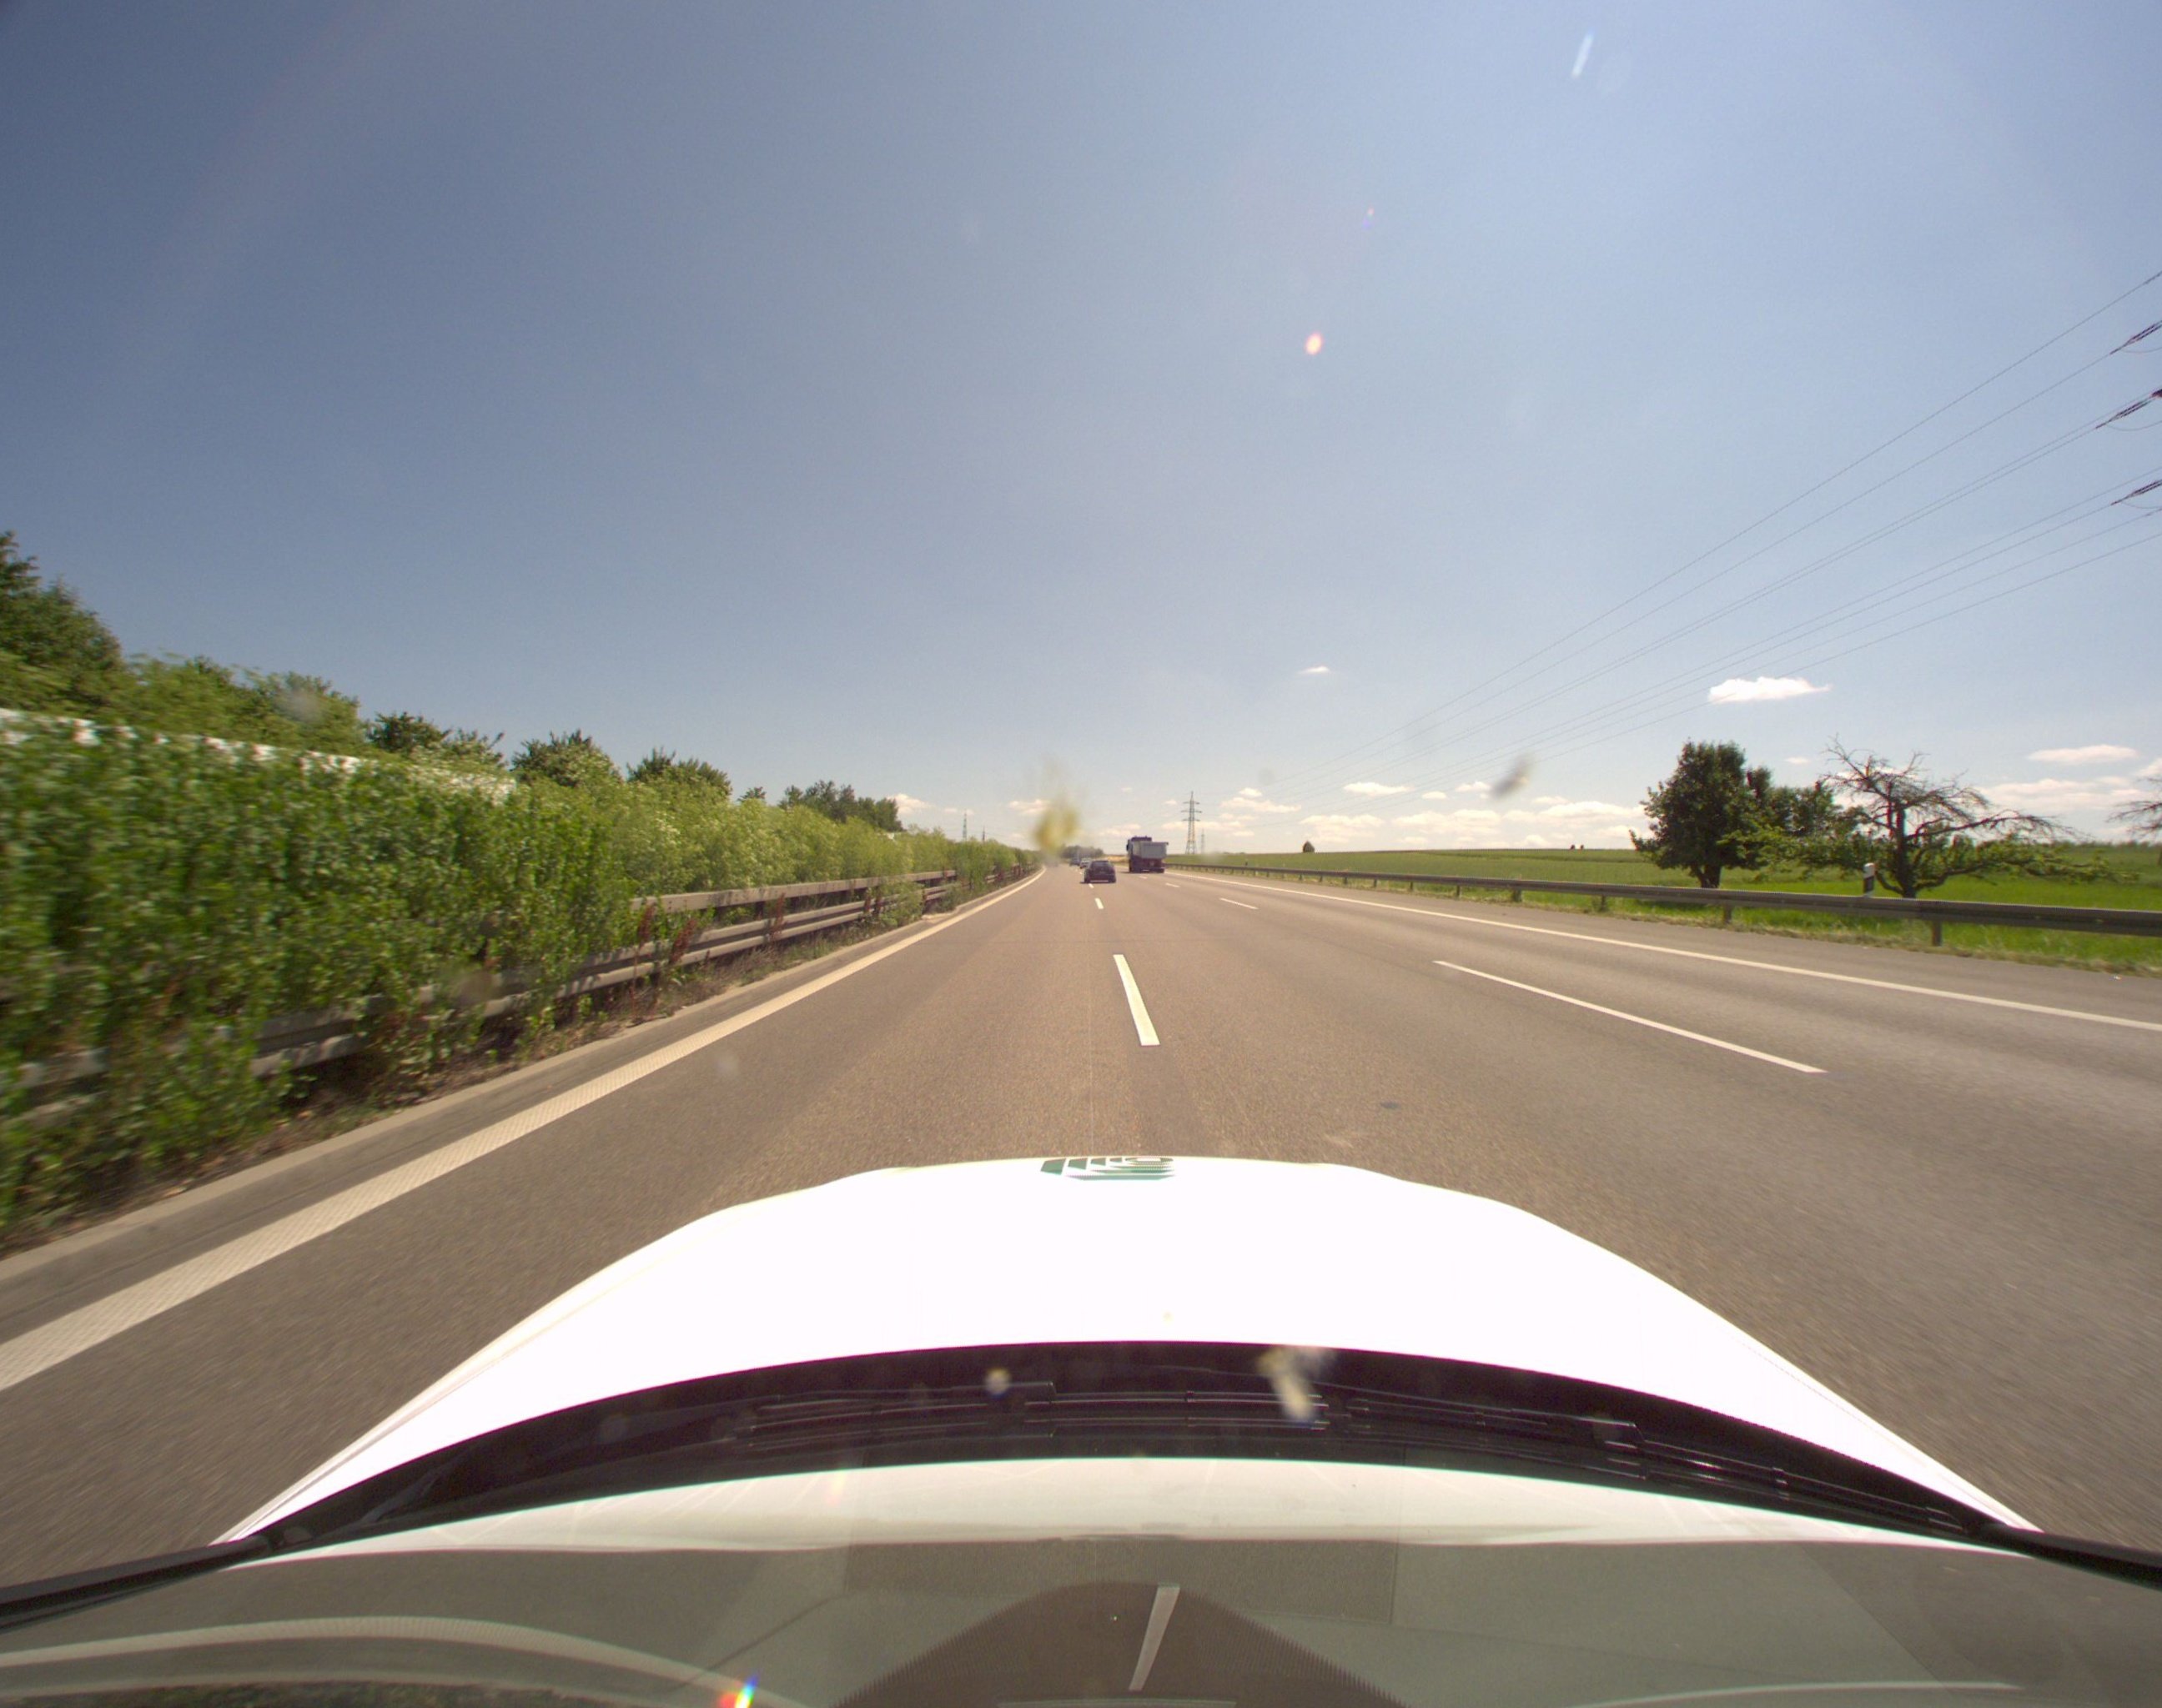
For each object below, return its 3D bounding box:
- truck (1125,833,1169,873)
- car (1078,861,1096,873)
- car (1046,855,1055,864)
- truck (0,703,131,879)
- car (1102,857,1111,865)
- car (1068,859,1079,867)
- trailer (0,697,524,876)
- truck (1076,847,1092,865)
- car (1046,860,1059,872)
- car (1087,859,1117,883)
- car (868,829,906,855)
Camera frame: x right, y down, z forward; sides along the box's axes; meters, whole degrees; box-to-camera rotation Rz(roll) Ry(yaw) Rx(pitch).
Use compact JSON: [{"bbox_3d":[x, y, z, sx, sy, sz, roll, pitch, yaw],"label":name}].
[{"bbox_3d":[6.536,-0.054,82.889,2.859,3.724,12.748,-1,-1,-3],"label":"truck"},{"bbox_3d":[0.794,1.800,112.616,1.819,1.541,3.903,-1,-1,-8],"label":"car"},{"bbox_3d":[-6.659,1.239,177.959,1.897,1.926,3.995,-1,-1,-3],"label":"car"},{"bbox_3d":[-18.224,-0.973,12.114,2.679,2.748,4.645,-1,-1,0],"label":"truck"},{"bbox_3d":[6.170,1.745,195.225,1.987,1.853,3.999,-1,-1,0],"label":"car"},{"bbox_3d":[-1.440,1.674,152.486,1.835,1.541,3.909,-1,-1,-3],"label":"car"},{"bbox_3d":[-18.217,-0.987,18.485,2.665,2.801,12.312,-1,-1,0],"label":"trailer"},{"bbox_3d":[0.652,0.543,186.883,3.213,3.924,9.052,0,-1,-2],"label":"truck"},{"bbox_3d":[-4.711,2.008,135.847,1.988,1.860,3.998,-1,-1,-1],"label":"car"},{"bbox_3d":[1.253,1.015,50.501,1.751,1.429,3.999,-1,-1,0],"label":"car"},{"bbox_3d":[-19.073,-1.150,80.246,2.563,2.452,5.507,-1,-1,-3],"label":"car"}]
